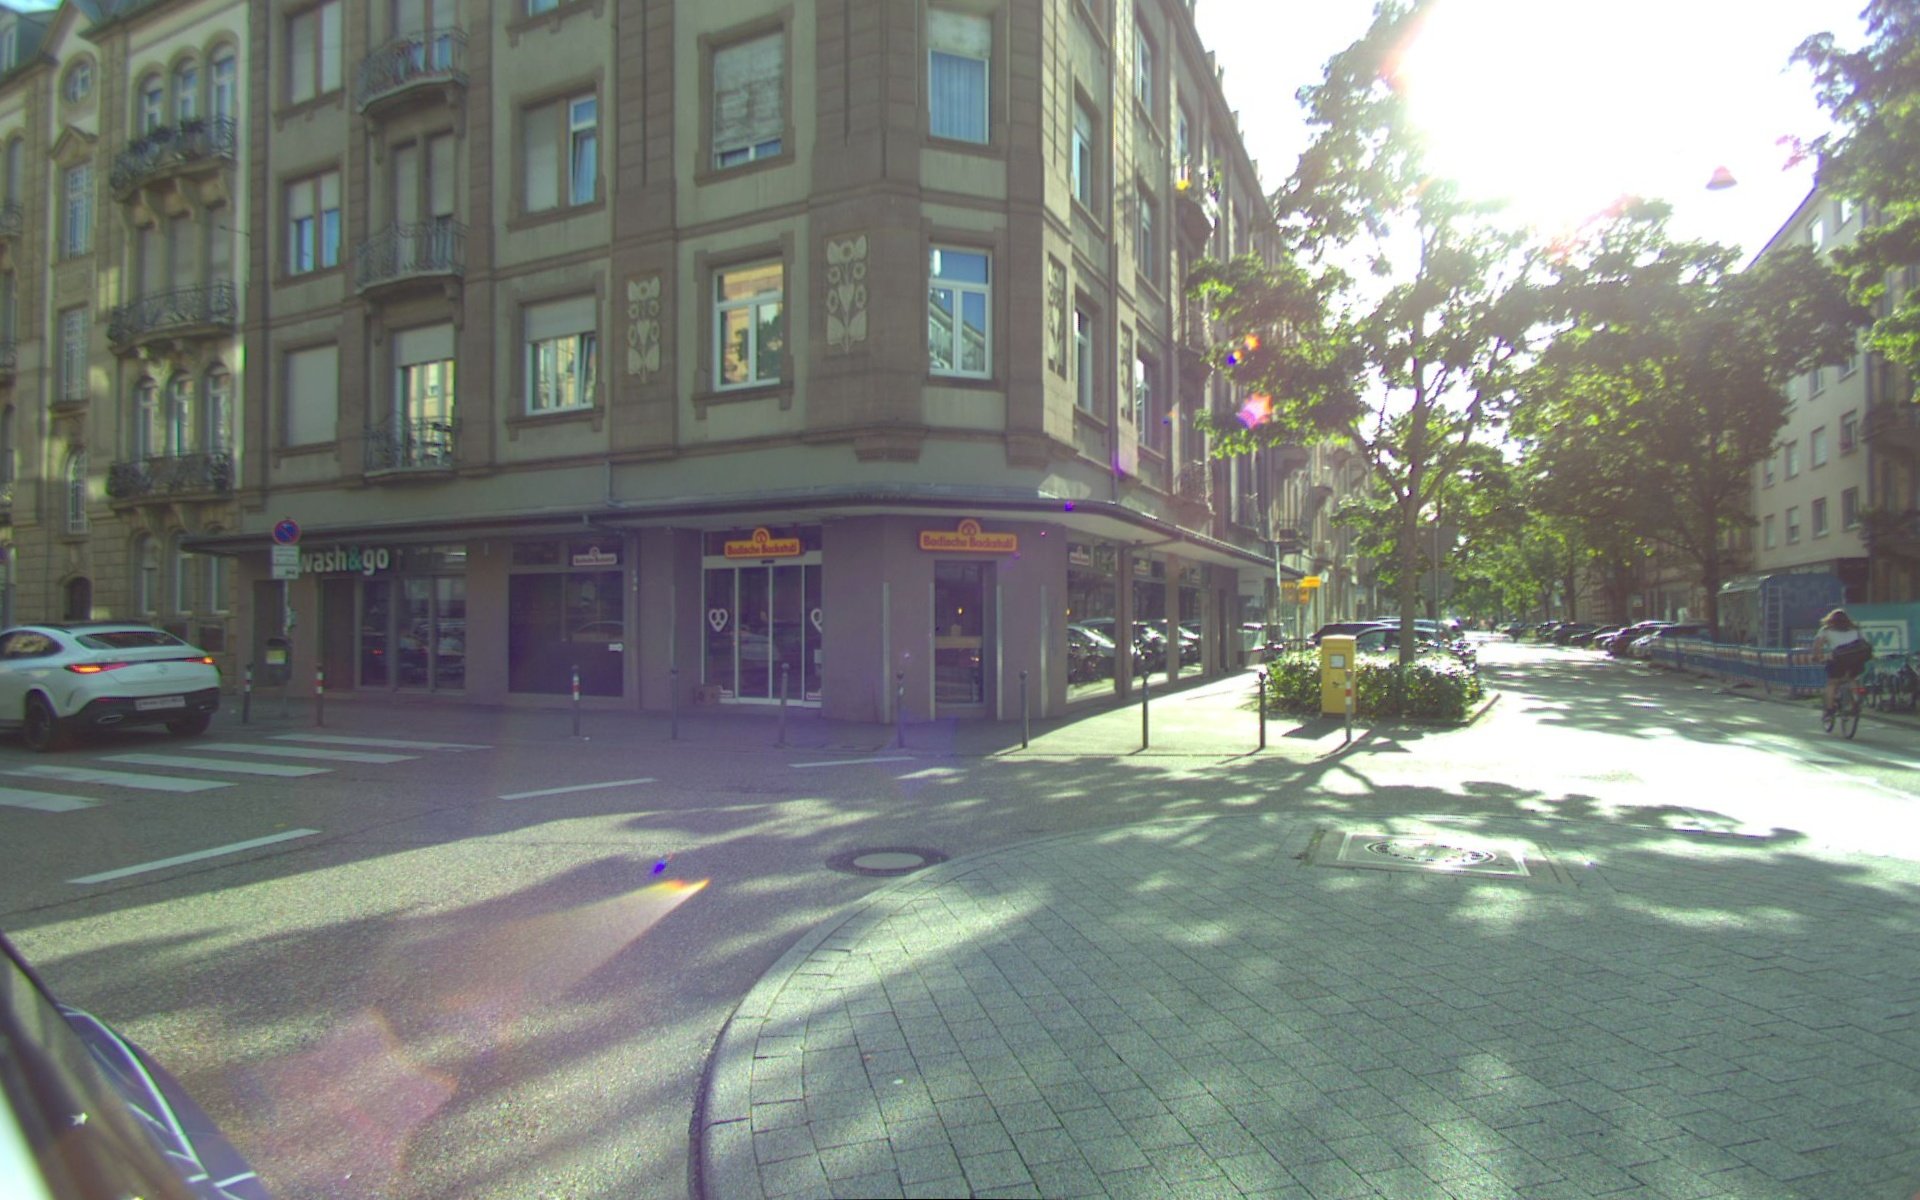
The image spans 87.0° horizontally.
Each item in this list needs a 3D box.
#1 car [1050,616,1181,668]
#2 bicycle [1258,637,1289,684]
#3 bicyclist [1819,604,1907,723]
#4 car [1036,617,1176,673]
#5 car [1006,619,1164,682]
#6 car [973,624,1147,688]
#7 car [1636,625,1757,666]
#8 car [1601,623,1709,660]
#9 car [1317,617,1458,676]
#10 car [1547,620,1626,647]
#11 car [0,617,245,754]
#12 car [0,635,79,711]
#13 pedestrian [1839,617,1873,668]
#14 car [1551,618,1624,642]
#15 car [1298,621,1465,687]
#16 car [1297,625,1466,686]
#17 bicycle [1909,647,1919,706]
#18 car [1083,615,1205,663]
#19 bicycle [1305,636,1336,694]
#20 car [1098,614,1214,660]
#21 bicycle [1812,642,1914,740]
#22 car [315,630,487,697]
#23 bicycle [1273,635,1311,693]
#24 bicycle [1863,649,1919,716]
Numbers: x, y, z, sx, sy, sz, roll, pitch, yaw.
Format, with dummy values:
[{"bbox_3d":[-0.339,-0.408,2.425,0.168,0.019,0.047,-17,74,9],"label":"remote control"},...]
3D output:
[{"bbox_3d":[5.013,1.350,32.569,3.964,1.563,1.757,-1,-1,16],"label":"car"},{"bbox_3d":[7.739,1.470,24.960,0.601,1.036,1.768,-1,0,21],"label":"bicycle"},{"bbox_3d":[12.726,0.863,14.301,0.690,1.599,1.116,-2,-1,31],"label":"bicyclist"},{"bbox_3d":[4.414,1.349,30.494,3.964,1.563,1.757,-1,-1,16],"label":"car"},{"bbox_3d":[3.372,1.347,27.071,3.964,1.563,1.757,-1,-1,16],"label":"car"},{"bbox_3d":[2.470,1.351,24.706,3.964,1.441,1.757,-1,0,16],"label":"car"},{"bbox_3d":[30.870,1.893,42.530,3.993,1.614,1.856,-2,-1,37],"label":"car"},{"bbox_3d":[31.975,1.897,46.624,3.993,1.614,1.856,-2,-1,37],"label":"car"},{"bbox_3d":[12.424,1.335,29.438,3.680,1.608,1.563,-1,-1,27],"label":"car"},{"bbox_3d":[39.165,2.095,63.346,3.978,1.582,1.820,-1,-1,26],"label":"car"},{"bbox_3d":[-12.489,1.140,14.072,4.813,1.647,1.984,-2,-2,24],"label":"car"},{"bbox_3d":[-19.561,1.426,20.152,3.809,1.379,1.710,-1,-1,26],"label":"car"},{"bbox_3d":[30.114,1.414,34.022,0.697,1.685,0.516,-1,-2,24],"label":"pedestrian"},{"bbox_3d":[42.951,2.055,69.357,3.978,1.582,1.820,-1,-1,26],"label":"car"},{"bbox_3d":[10.347,1.307,24.949,3.678,1.487,1.564,-1,-1,25],"label":"car"},{"bbox_3d":[11.256,1.456,27.083,4.053,1.487,1.563,-1,-1,27],"label":"car"},{"bbox_3d":[17.062,1.333,17.144,0.587,1.038,2.063,-3,-2,19],"label":"bicycle"},{"bbox_3d":[6.370,1.337,34.931,3.964,1.563,1.757,-1,-1,16],"label":"car"},{"bbox_3d":[7.575,1.325,21.222,0.475,1.143,2.413,-1,-2,22],"label":"bicycle"},{"bbox_3d":[7.152,1.333,36.846,3.964,1.563,1.757,-1,-1,16],"label":"car"},{"bbox_3d":[12.803,1.243,14.401,0.690,1.208,1.957,-1,-1,31],"label":"bicycle"},{"bbox_3d":[-15.549,1.716,28.387,1.983,1.633,3.978,-1,0,17],"label":"car"},{"bbox_3d":[7.050,1.321,21.448,0.576,1.143,2.413,-1,-2,22],"label":"bicycle"},{"bbox_3d":[16.391,1.398,17.306,0.587,1.038,2.128,-3,-2,19],"label":"bicycle"}]
